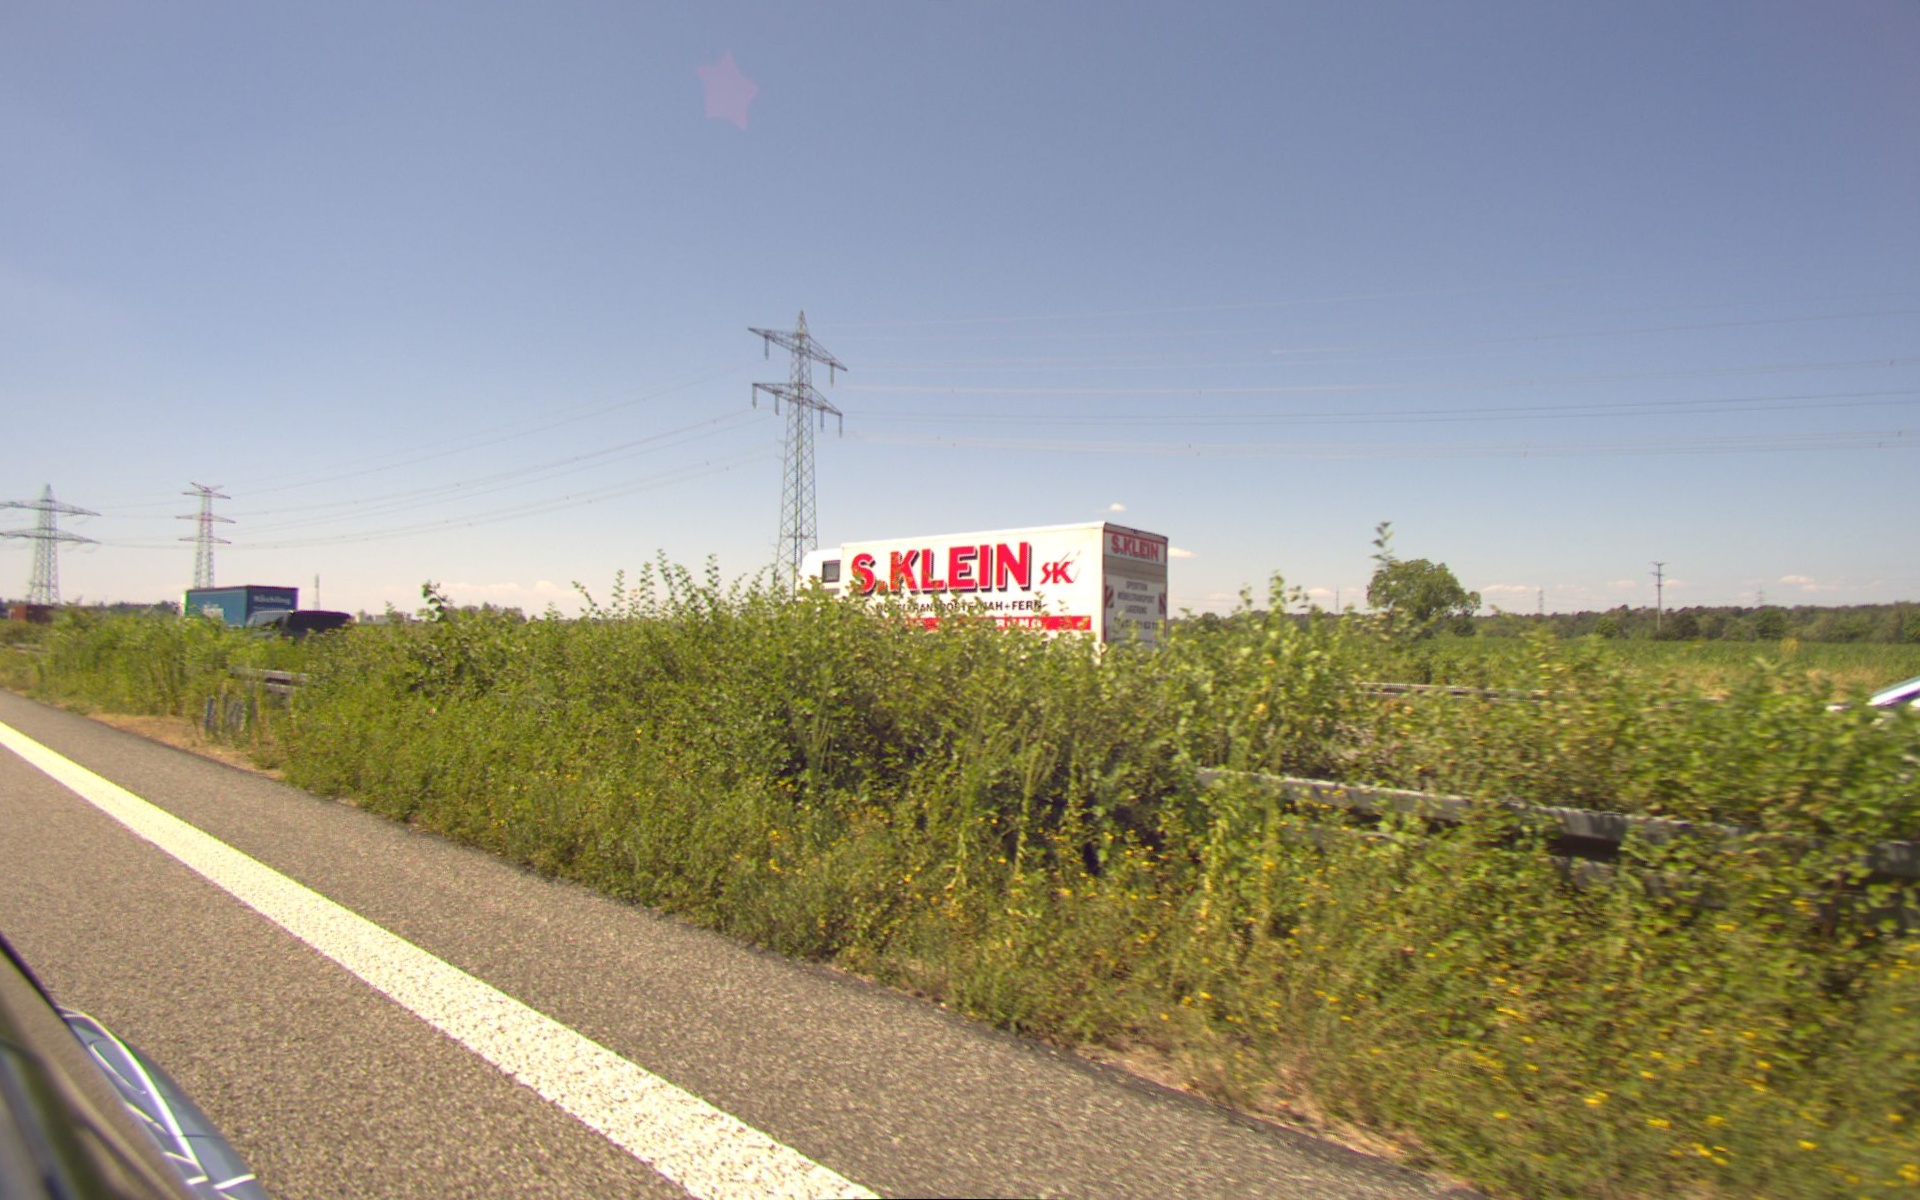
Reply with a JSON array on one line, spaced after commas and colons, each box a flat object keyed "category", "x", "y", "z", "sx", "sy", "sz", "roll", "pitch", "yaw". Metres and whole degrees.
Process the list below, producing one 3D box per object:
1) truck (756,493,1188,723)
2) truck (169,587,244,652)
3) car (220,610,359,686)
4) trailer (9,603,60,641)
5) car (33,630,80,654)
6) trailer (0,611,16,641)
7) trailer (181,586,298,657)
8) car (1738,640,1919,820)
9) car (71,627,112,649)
[{"category": "truck", "x": -0.239, "y": 0.278, "z": 23.061, "sx": 10.564, "sy": 4.208, "sz": 2.843, "roll": -1, "pitch": -2, "yaw": 41}, {"category": "truck", "x": -49.602, "y": 1.328, "z": 66.571, "sx": 5.798, "sy": 4.100, "sz": 2.668, "roll": -1, "pitch": -3, "yaw": 41}, {"category": "car", "x": -19.403, "y": 1.340, "z": 29.217, "sx": 5.114, "sy": 2.029, "sz": 1.973, "roll": -1, "pitch": -2, "yaw": 40}, {"category": "trailer", "x": -110.443, "y": 2.619, "z": 120.733, "sx": 12.266, "sy": 4.339, "sz": 3.159, "roll": -1, "pitch": -2, "yaw": 41}, {"category": "car", "x": -54.507, "y": 2.492, "z": 61.018, "sx": 4.329, "sy": 1.409, "sz": 1.614, "roll": -1, "pitch": -3, "yaw": 42}, {"category": "trailer", "x": -135.386, "y": 3.642, "z": 141.936, "sx": 14.134, "sy": 4.008, "sz": 2.820, "roll": -1, "pitch": -3, "yaw": 41}, {"category": "trailer", "x": -44.435, "y": 1.346, "z": 62.104, "sx": 13.902, "sy": 3.968, "sz": 2.665, "roll": -1, "pitch": -3, "yaw": 41}, {"category": "car", "x": 9.645, "y": 1.120, "z": 8.581, "sx": 4.776, "sy": 1.510, "sz": 1.751, "roll": -1, "pitch": -2, "yaw": 39}, {"category": "car", "x": -65.410, "y": 2.829, "z": 76.191, "sx": 4.606, "sy": 1.645, "sz": 1.734, "roll": -2, "pitch": -3, "yaw": 42}]
